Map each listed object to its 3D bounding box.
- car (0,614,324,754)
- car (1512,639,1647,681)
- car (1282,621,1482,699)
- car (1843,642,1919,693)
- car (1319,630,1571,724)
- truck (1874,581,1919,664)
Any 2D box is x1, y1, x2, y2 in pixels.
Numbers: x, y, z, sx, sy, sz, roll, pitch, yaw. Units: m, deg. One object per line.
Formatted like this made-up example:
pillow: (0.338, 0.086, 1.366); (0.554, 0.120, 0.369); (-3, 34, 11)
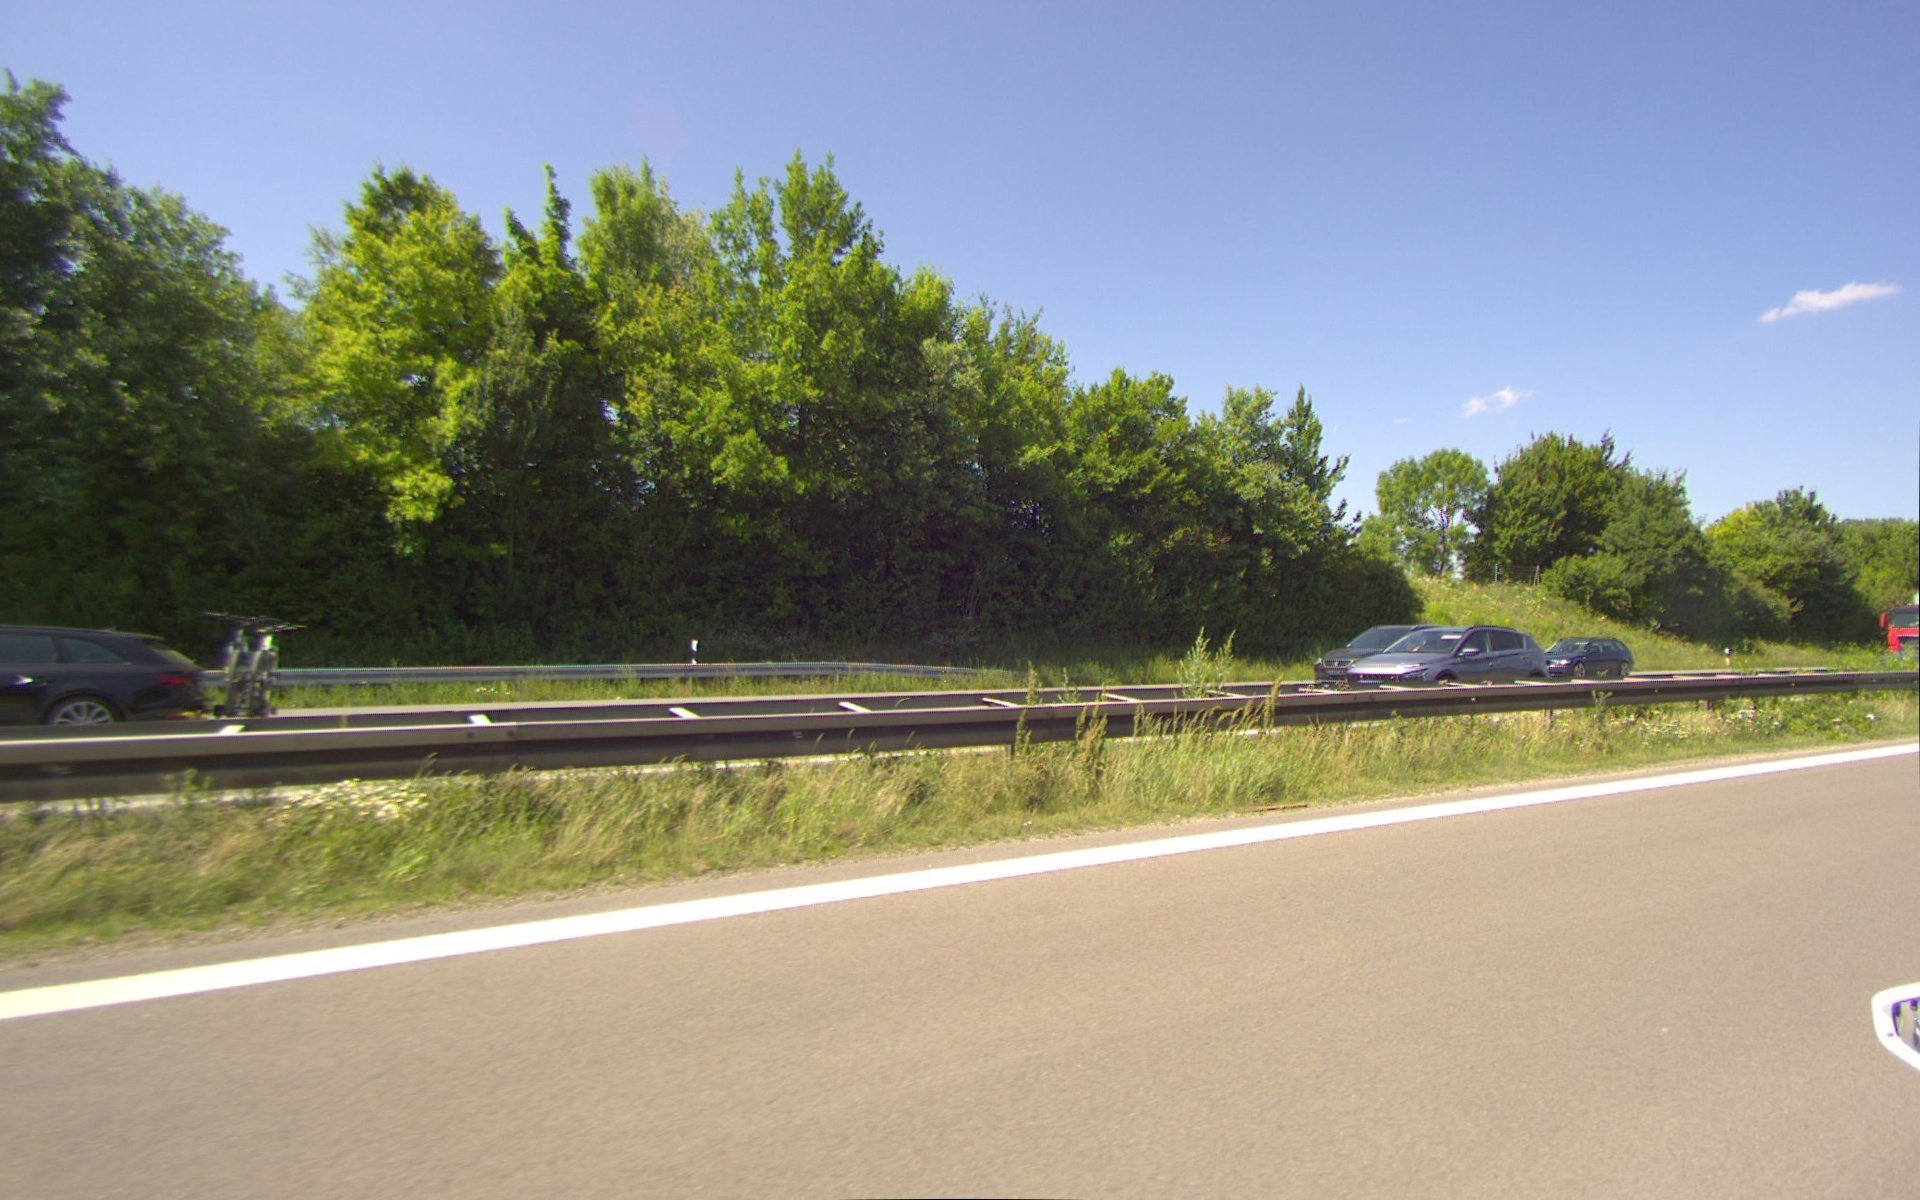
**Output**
car: (-10.702, 0.921, 11.600); (5.557, 1.494, 1.984); (1, -2, -30)
car: (20.889, 1.979, 33.793); (5.003, 1.314, 1.739); (1, -2, -30)
car: (9.796, 1.337, 23.235); (4.521, 1.651, 1.984); (1, -2, -30)
car: (26.829, 1.858, 28.315); (4.071, 1.334, 1.660); (1, -2, -30)
car: (8.682, 1.296, 17.953); (4.292, 1.502, 1.946); (1, -2, -29)
truck: (48.702, 1.149, 49.334); (9.800, 3.819, 2.667); (1, -3, -30)
